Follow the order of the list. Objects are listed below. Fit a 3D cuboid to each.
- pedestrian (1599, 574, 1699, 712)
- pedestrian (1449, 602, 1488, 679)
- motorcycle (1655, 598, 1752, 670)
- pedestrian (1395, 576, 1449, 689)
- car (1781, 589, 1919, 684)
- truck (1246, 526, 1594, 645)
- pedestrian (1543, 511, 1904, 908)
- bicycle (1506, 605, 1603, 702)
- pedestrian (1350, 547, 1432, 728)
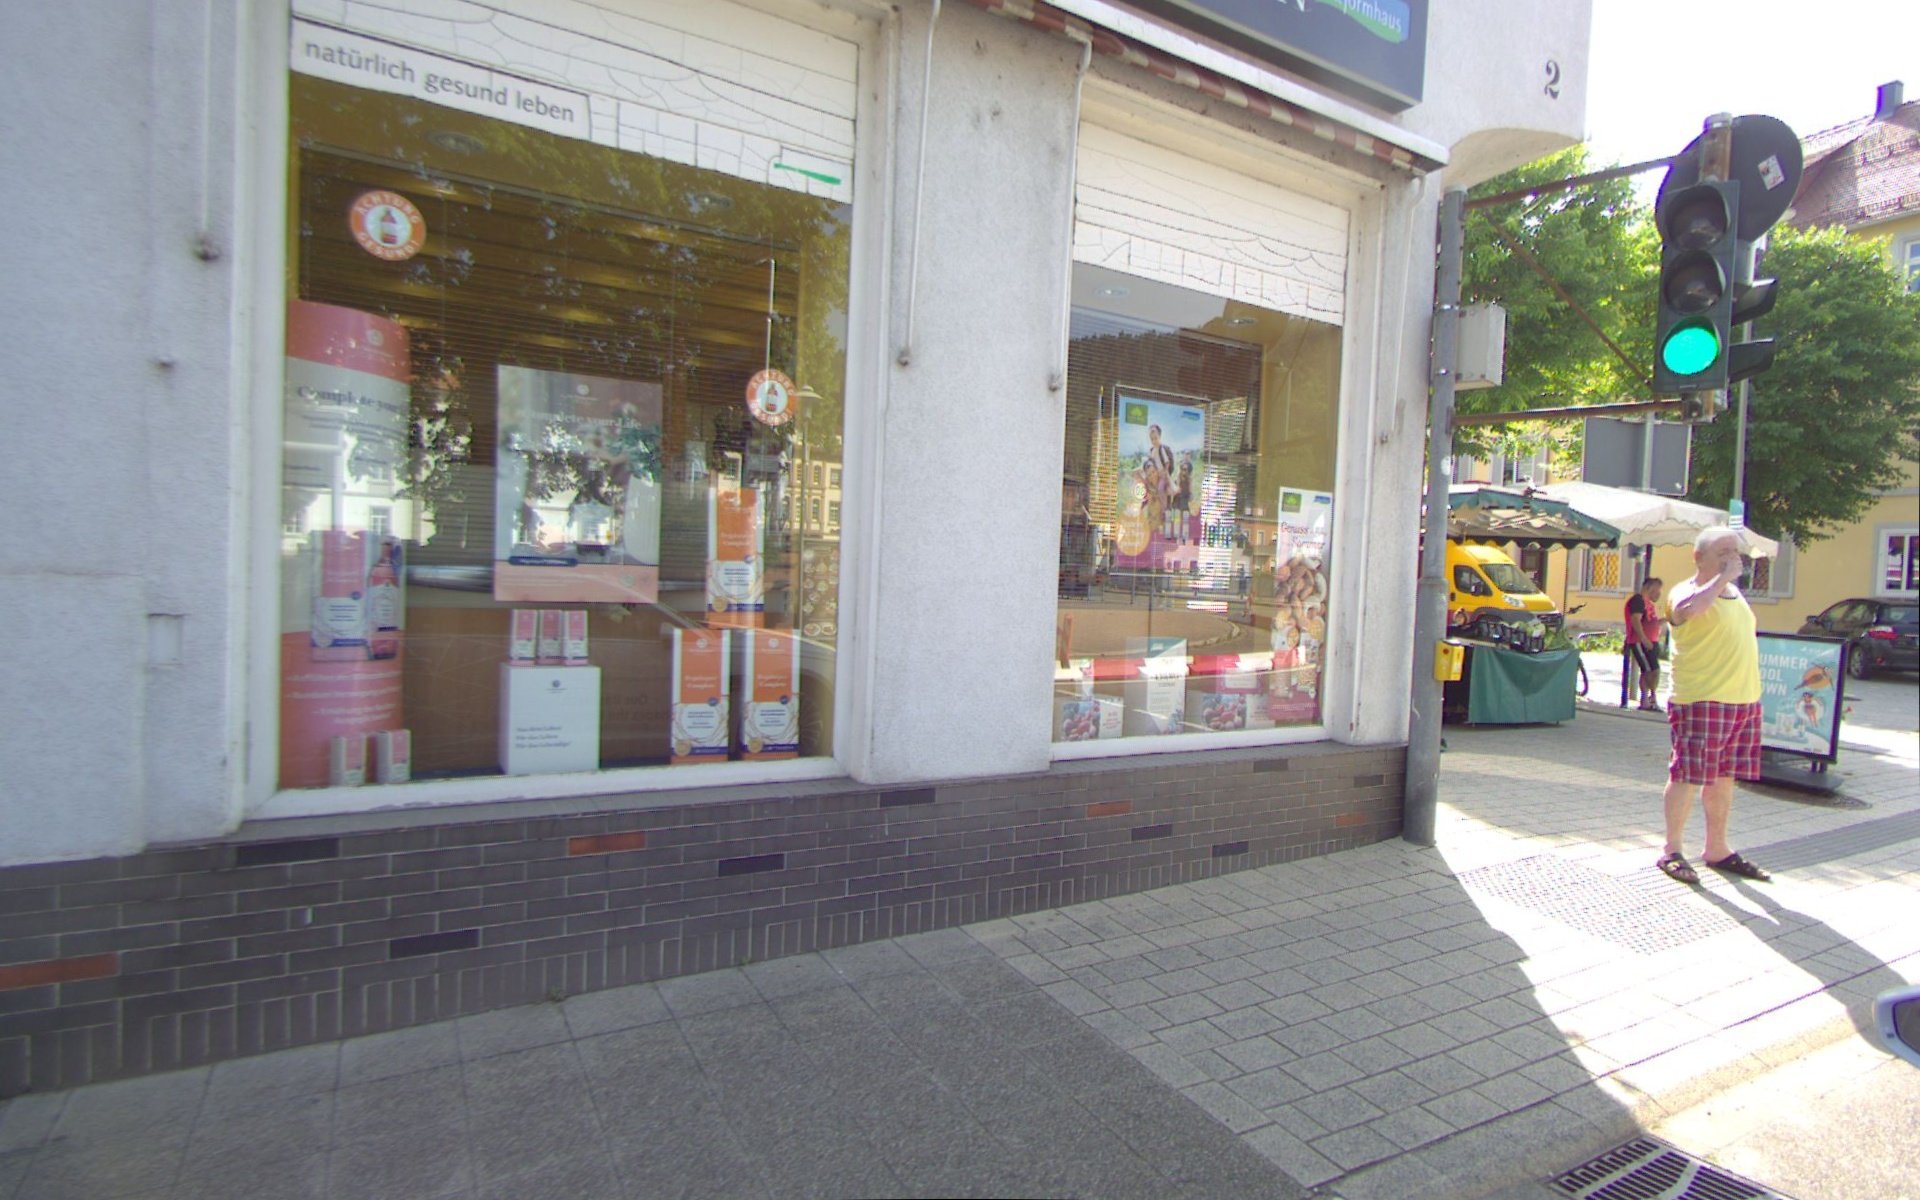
[{"bbox_3d":[8.812,0.542,12.855,0.871,1.680,0.569,4,1,-24],"label":"pedestrian"},{"bbox_3d":[8.080,0.630,15.982,0.507,1.176,0.621,2,1,26],"label":"pedestrian"},{"bbox_3d":[15.597,0.675,21.068,2.063,1.379,0.881,-1,3,-31],"label":"motorcycle"},{"bbox_3d":[7.438,0.503,16.156,0.694,1.747,0.787,2,1,28],"label":"pedestrian"},{"bbox_3d":[18.028,0.649,19.724,1.887,1.564,3.955,3,3,24],"label":"car"},{"bbox_3d":[12.365,-0.553,28.212,2.974,2.795,8.792,0,3,-29],"label":"truck"},{"bbox_3d":[3.904,0.490,5.277,0.889,1.840,1.021,4,5,2],"label":"pedestrian"},{"bbox_3d":[8.320,0.716,14.018,1.849,1.251,0.610,1,2,-42],"label":"bicycle"},{"bbox_3d":[4.996,0.416,11.636,0.643,2.011,0.704,2,1,40],"label":"pedestrian"}]
